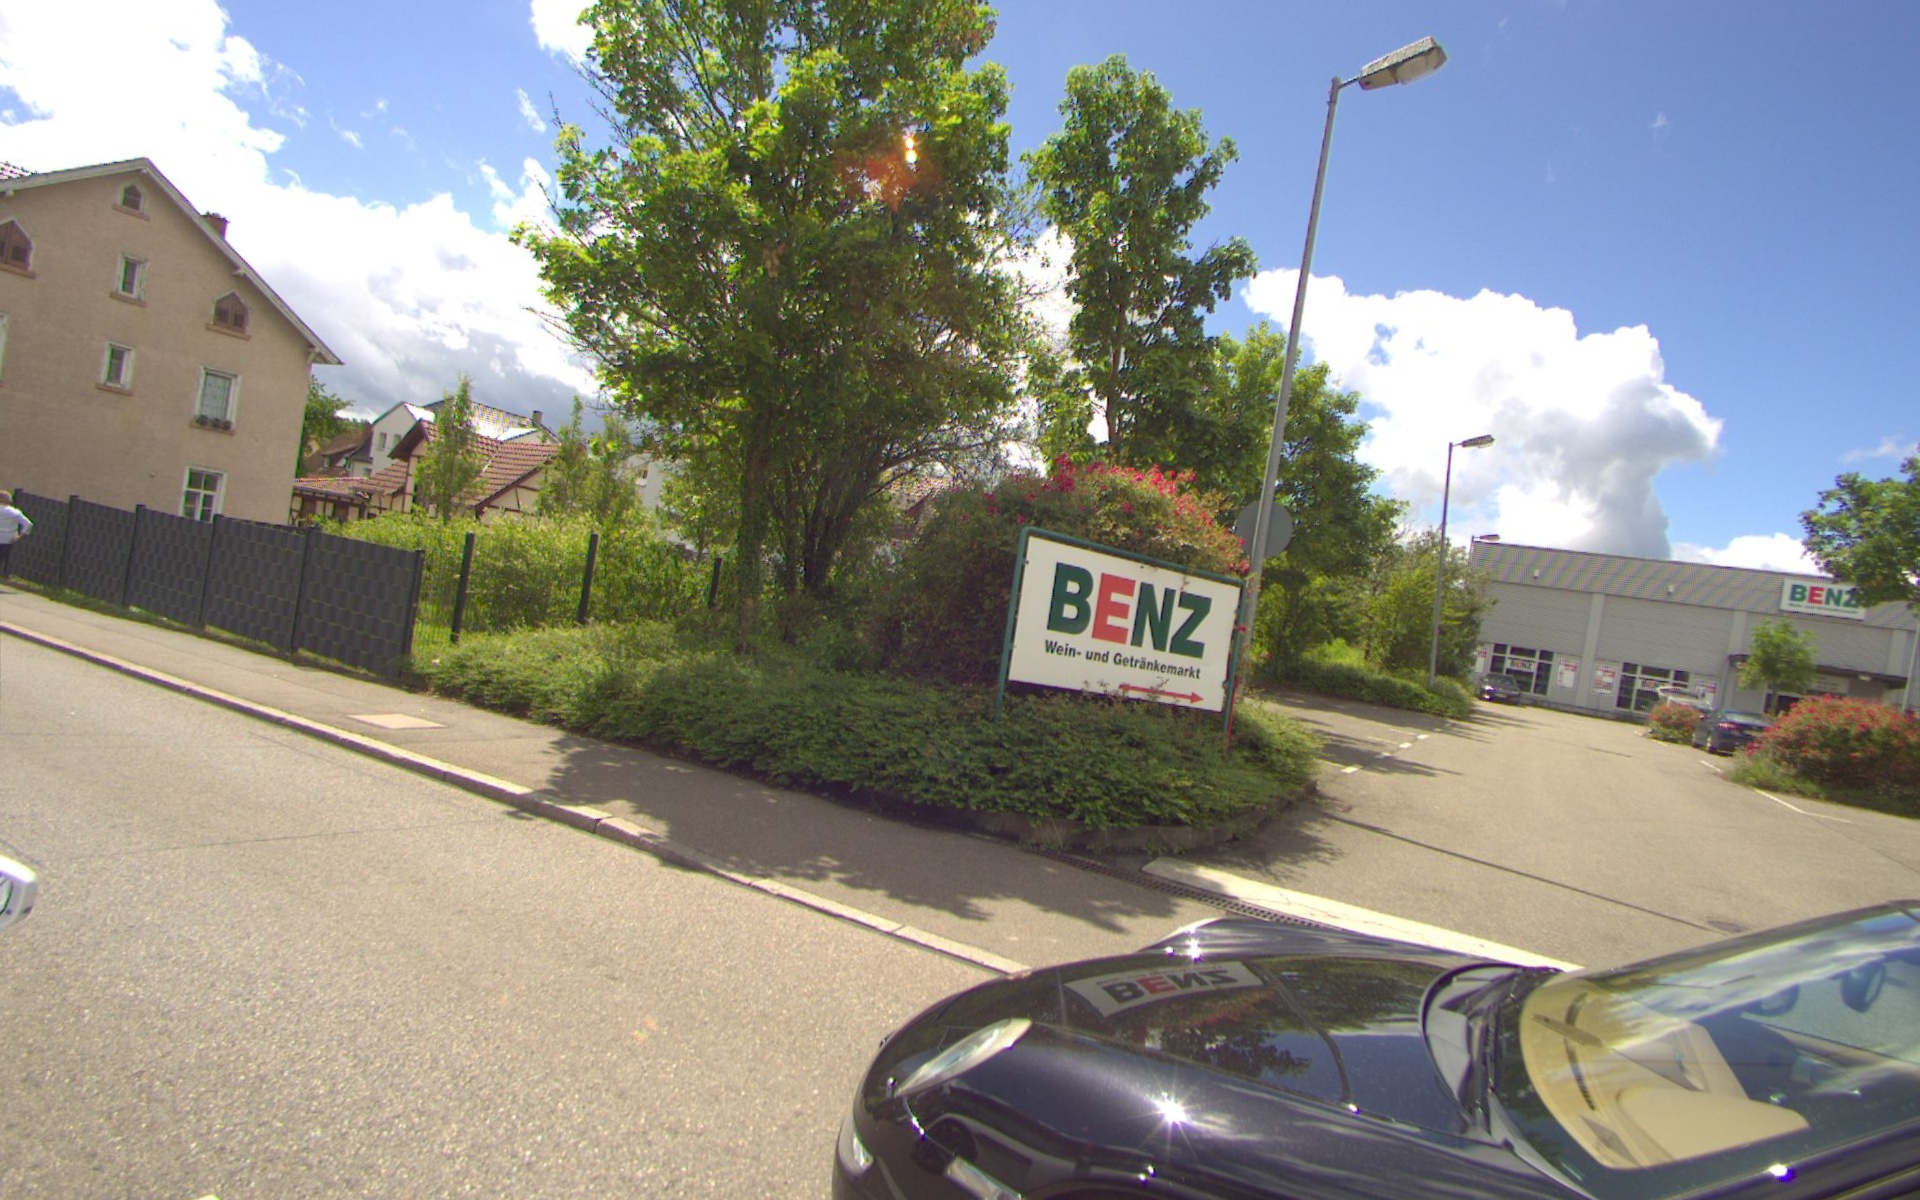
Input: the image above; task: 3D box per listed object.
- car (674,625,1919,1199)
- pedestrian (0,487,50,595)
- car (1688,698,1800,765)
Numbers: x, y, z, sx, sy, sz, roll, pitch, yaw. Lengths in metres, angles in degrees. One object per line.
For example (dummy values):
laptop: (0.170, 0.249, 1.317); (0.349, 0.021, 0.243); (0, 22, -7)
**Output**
car: (1.687, 1.191, 1.726); (4.140, 1.393, 1.933); (12, 2, 35)
pedestrian: (-14.989, -0.956, 15.698); (1.052, 1.602, 0.814); (7, 2, 31)
car: (24.294, 4.019, 31.348); (1.890, 1.595, 4.299); (8, 0, 29)
